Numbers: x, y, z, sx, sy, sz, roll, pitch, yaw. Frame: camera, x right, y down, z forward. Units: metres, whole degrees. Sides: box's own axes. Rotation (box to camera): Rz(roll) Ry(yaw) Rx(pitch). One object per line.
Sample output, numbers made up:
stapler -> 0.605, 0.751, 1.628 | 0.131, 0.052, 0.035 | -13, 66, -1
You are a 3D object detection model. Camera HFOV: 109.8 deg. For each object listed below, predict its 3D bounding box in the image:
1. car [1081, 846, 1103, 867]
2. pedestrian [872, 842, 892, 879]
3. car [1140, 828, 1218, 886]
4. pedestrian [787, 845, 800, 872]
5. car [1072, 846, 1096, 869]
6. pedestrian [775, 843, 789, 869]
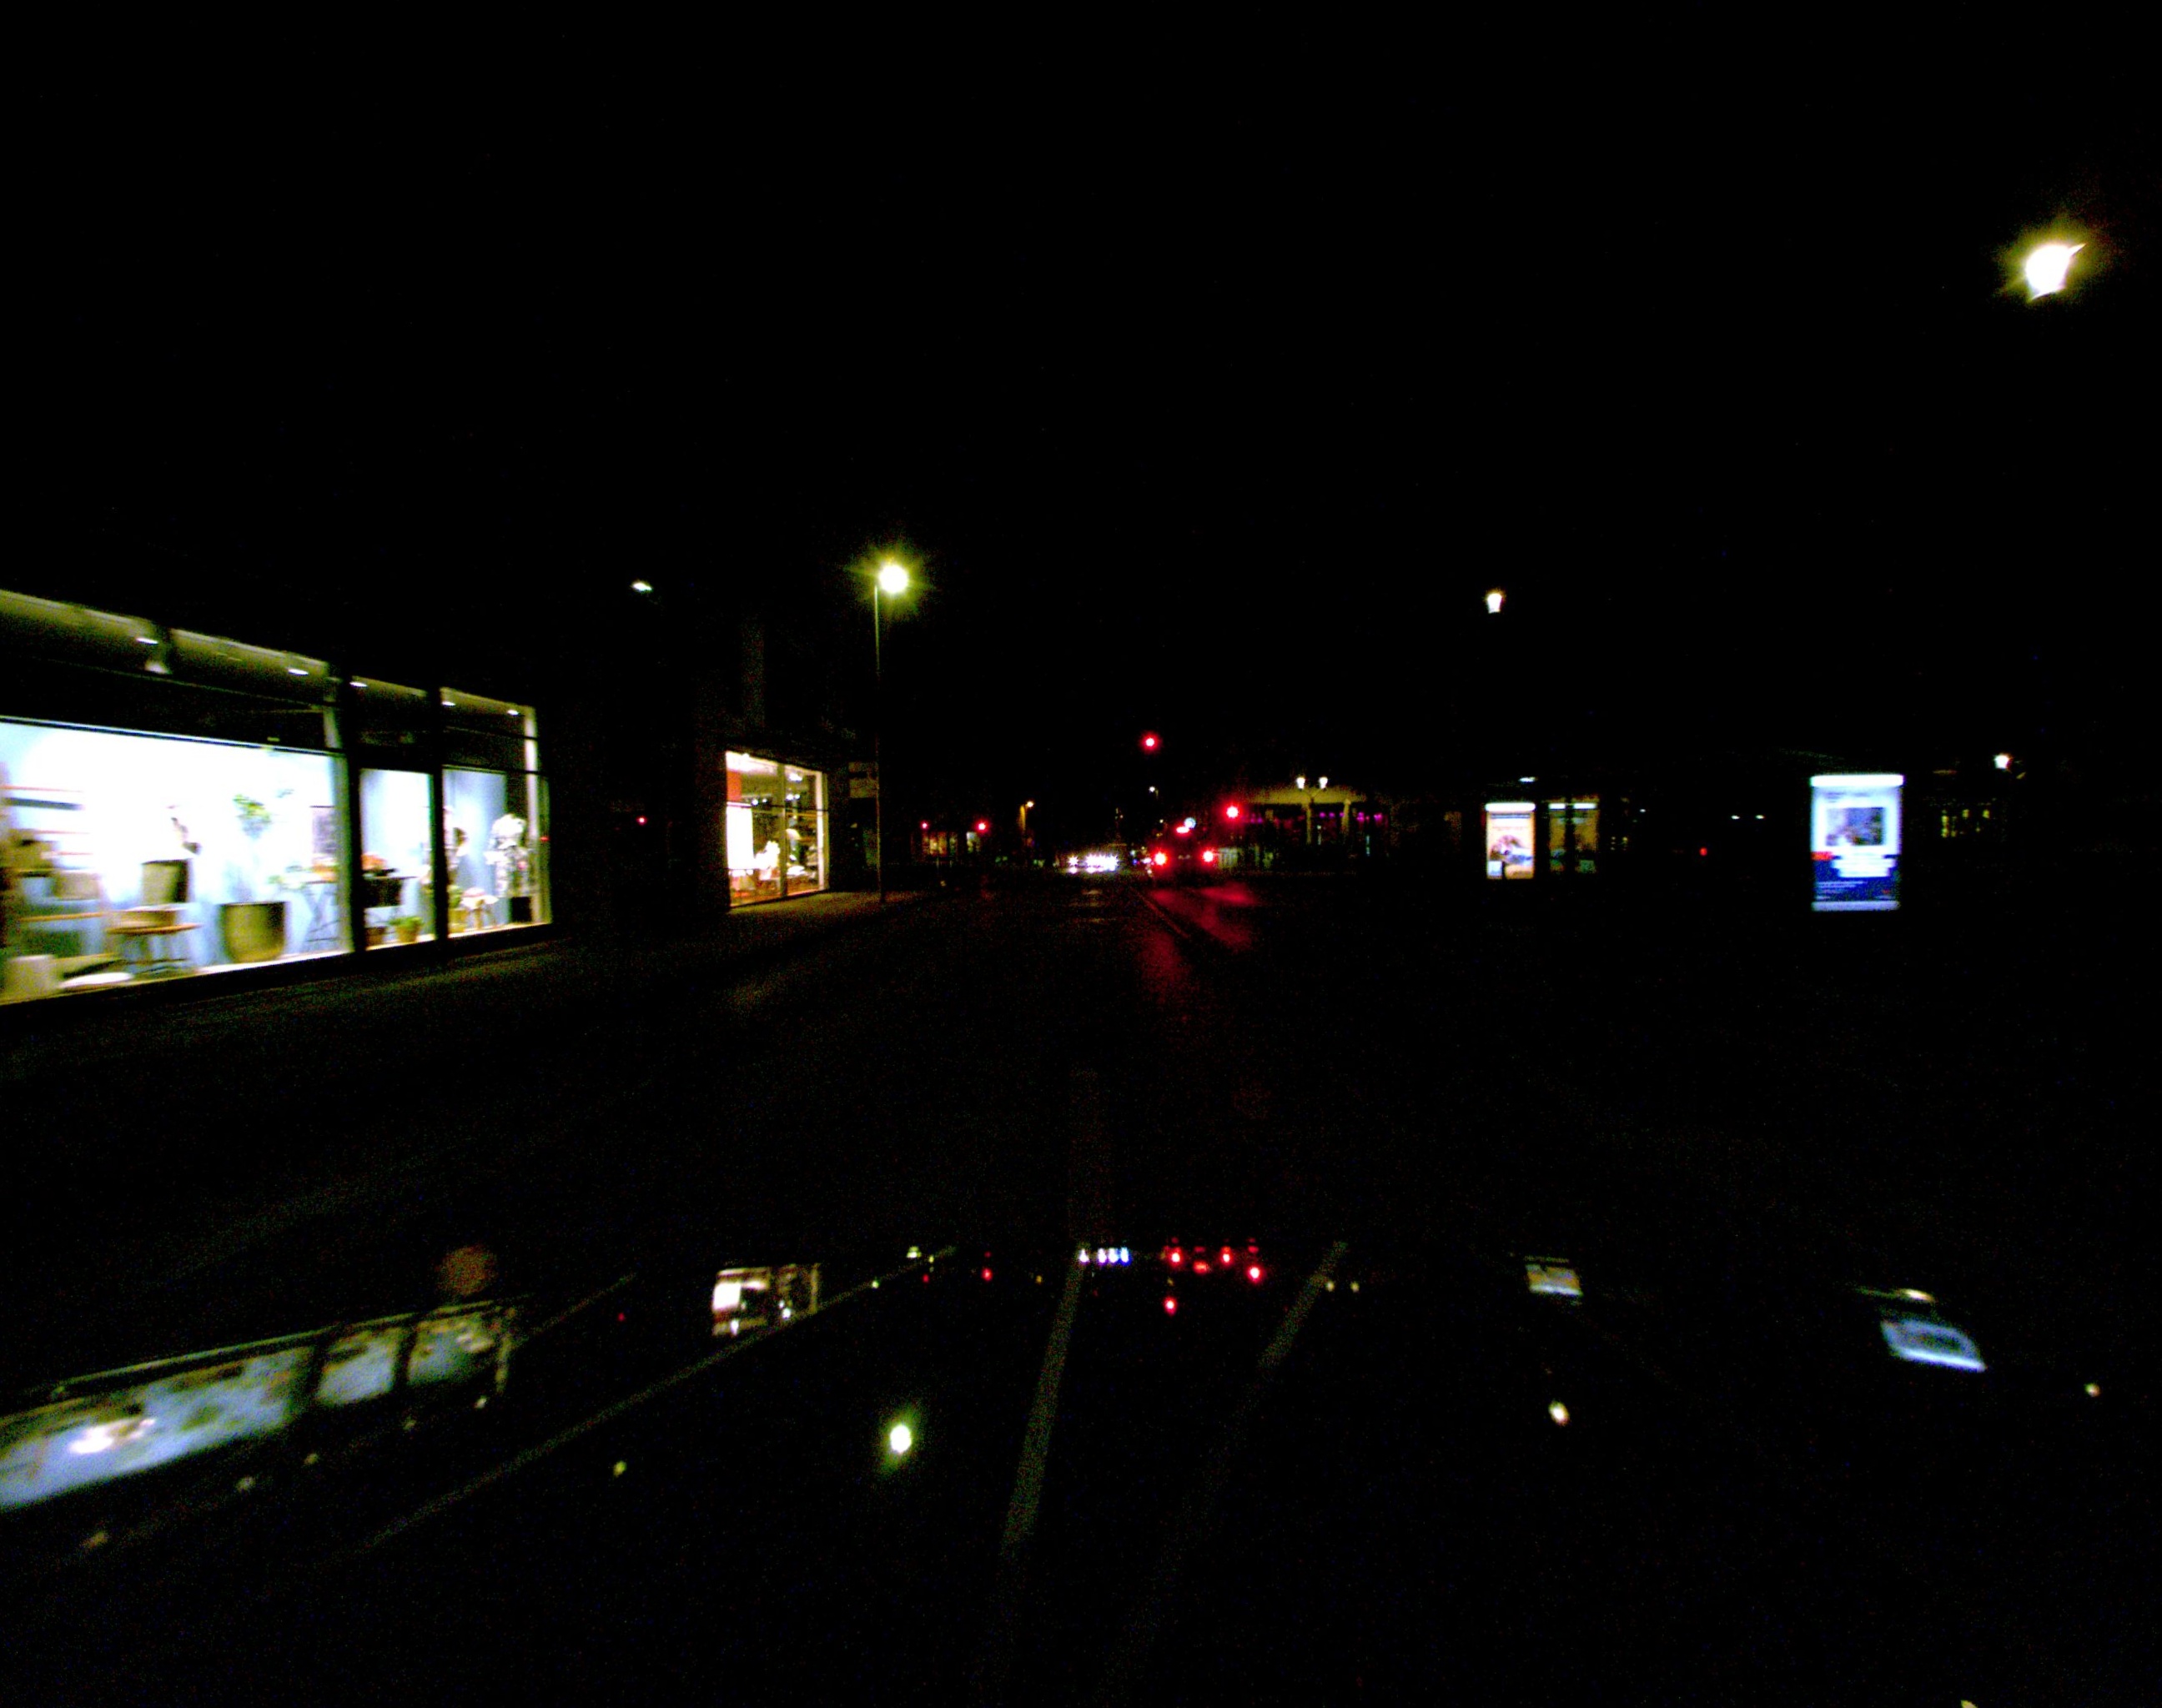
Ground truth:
car -> 1.017, 0.175, 68.385 | 1.879, 1.718, 3.999 | -2, 1, 1
pedestrian -> -9.164, 0.302, 35.032 | 0.539, 1.672, 0.648 | -2, 2, 23
car -> 3.374, 0.056, 27.034 | 1.972, 1.861, 4.910 | -1, 1, -2
pedestrian -> -18.812, 0.278, 49.653 | 0.524, 1.707, 0.567 | -2, 2, 5
car -> 0.272, 0.274, 61.216 | 1.713, 1.660, 3.738 | -2, 1, 3
pedestrian -> -19.466, 0.118, 49.539 | 0.567, 1.707, 0.567 | -2, 2, 7
